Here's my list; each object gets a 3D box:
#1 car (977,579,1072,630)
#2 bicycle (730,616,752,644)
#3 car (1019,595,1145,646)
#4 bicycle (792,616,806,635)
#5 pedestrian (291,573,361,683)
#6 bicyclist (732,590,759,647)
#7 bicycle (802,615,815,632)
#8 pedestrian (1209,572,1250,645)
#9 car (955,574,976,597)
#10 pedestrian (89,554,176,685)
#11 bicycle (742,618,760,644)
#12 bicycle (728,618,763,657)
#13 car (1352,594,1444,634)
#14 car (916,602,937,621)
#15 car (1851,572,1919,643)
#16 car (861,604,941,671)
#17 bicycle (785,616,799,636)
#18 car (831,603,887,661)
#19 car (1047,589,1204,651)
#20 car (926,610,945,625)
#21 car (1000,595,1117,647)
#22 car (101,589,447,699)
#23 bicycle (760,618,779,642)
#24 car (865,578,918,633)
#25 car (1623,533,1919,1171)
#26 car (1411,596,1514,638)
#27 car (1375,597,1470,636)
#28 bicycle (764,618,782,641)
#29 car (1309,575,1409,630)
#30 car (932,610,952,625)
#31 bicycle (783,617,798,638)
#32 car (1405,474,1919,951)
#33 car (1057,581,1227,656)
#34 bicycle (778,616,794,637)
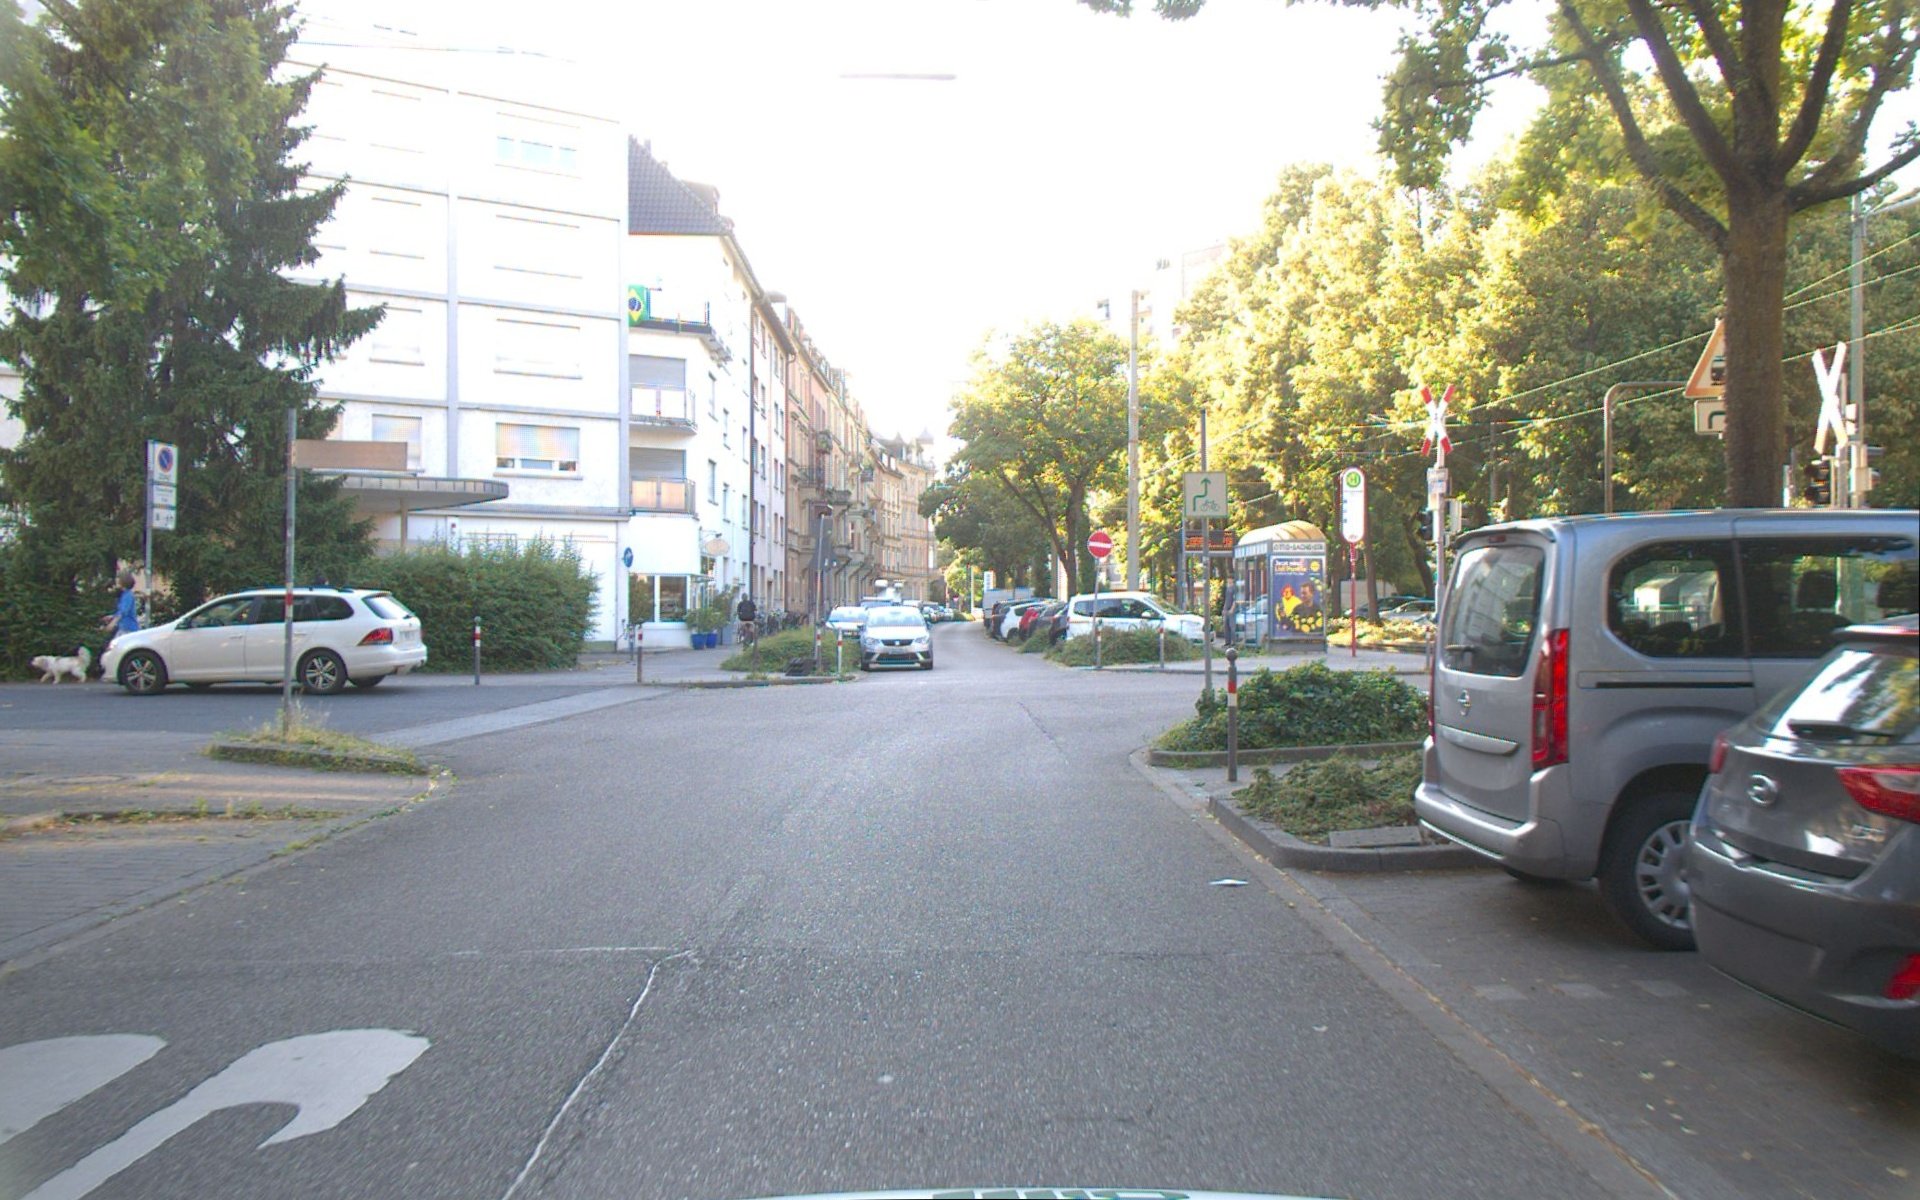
[{"bbox_3d":[3.939,0.276,100.648,5.151,2.616,2.271,-5,-1,28],"label":"car"},{"bbox_3d":[-8.196,1.105,62.055,0.520,1.021,2.175,0,0,0],"label":"bicycle"},{"bbox_3d":[4.360,0.738,59.186,4.143,1.484,1.607,-5,-1,24],"label":"car"},{"bbox_3d":[-8.899,1.402,91.609,0.614,1.021,2.175,0,0,-1],"label":"bicycle"},{"bbox_3d":[-10.423,0.454,27.211,0.811,1.766,0.870,1,-1,-2],"label":"pedestrian"},{"bbox_3d":[-6.283,0.536,48.508,0.697,1.645,0.723,-1,0,0],"label":"bicyclist"},{"bbox_3d":[-9.281,1.441,101.175,0.614,1.021,2.175,0,0,-1],"label":"bicycle"},{"bbox_3d":[7.235,0.231,44.355,0.832,1.944,0.836,-1,-1,28],"label":"pedestrian"},{"bbox_3d":[0.659,-1.688,194.926,1.674,2.607,5.571,-2,0,8],"label":"car"},{"bbox_3d":[-13.232,0.308,26.474,0.962,2.049,0.863,-1,0,-1],"label":"pedestrian"},{"bbox_3d":[-8.658,1.278,68.637,0.520,1.021,2.175,0,0,-1],"label":"bicycle"},{"bbox_3d":[-6.273,1.082,48.450,0.697,1.069,2.347,-1,0,0],"label":"bicycle"},{"bbox_3d":[19.296,0.618,72.845,3.737,1.615,1.738,2,-1,19],"label":"car"},{"bbox_3d":[-3.303,1.115,164.865,1.675,1.852,4.002,-2,0,4],"label":"car"},{"bbox_3d":[28.345,0.218,48.041,1.908,2.038,4.650,-1,0,-9],"label":"car"},{"bbox_3d":[-1.463,0.850,39.663,1.677,1.471,3.996,-2,0,-5],"label":"car"},{"bbox_3d":[-8.973,1.376,88.400,0.614,1.021,2.175,0,0,-1],"label":"bicycle"},{"bbox_3d":[-3.179,0.977,52.500,1.676,1.702,3.998,-2,0,-3],"label":"car"},{"bbox_3d":[4.781,0.575,47.815,4.109,1.461,1.700,-5,-1,24],"label":"car"},{"bbox_3d":[-2.541,1.831,174.858,1.675,1.471,4.002,-2,0,4],"label":"car"},{"bbox_3d":[3.845,0.826,64.699,4.156,1.680,1.851,-5,-1,36],"label":"car"},{"bbox_3d":[-9.885,0.612,24.068,4.193,1.476,1.924,-1,1,2],"label":"car"},{"bbox_3d":[-8.361,1.309,72.614,0.614,1.021,2.175,0,0,-1],"label":"bicycle"},{"bbox_3d":[-3.862,0.313,93.886,2.499,2.938,5.482,-2,0,2],"label":"car"},{"bbox_3d":[4.649,0.626,5.063,4.444,1.600,1.950,-1,-1,1],"label":"car"},{"bbox_3d":[19.390,0.658,63.796,3.737,1.415,1.738,2,-1,19],"label":"car"},{"bbox_3d":[19.510,0.689,69.743,3.737,1.446,1.738,2,-1,19],"label":"car"},{"bbox_3d":[-8.612,1.330,76.146,0.614,1.021,2.175,0,0,-1],"label":"bicycle"},{"bbox_3d":[19.754,0.124,81.910,4.403,2.519,1.815,2,-1,30],"label":"car"},{"bbox_3d":[-1.923,1.911,180.258,1.674,1.471,4.003,-2,0,6],"label":"car"},{"bbox_3d":[-8.503,1.364,83.026,0.614,1.021,2.175,0,0,-1],"label":"bicycle"},{"bbox_3d":[4.574,0.467,7.772,4.444,1.948,1.950,-1,-1,1],"label":"car"},{"bbox_3d":[4.848,0.508,44.289,4.149,1.681,1.605,-5,-1,31],"label":"car"},{"bbox_3d":[-9.048,1.366,86.002,0.614,1.021,2.175,0,0,-1],"label":"bicycle"}]
